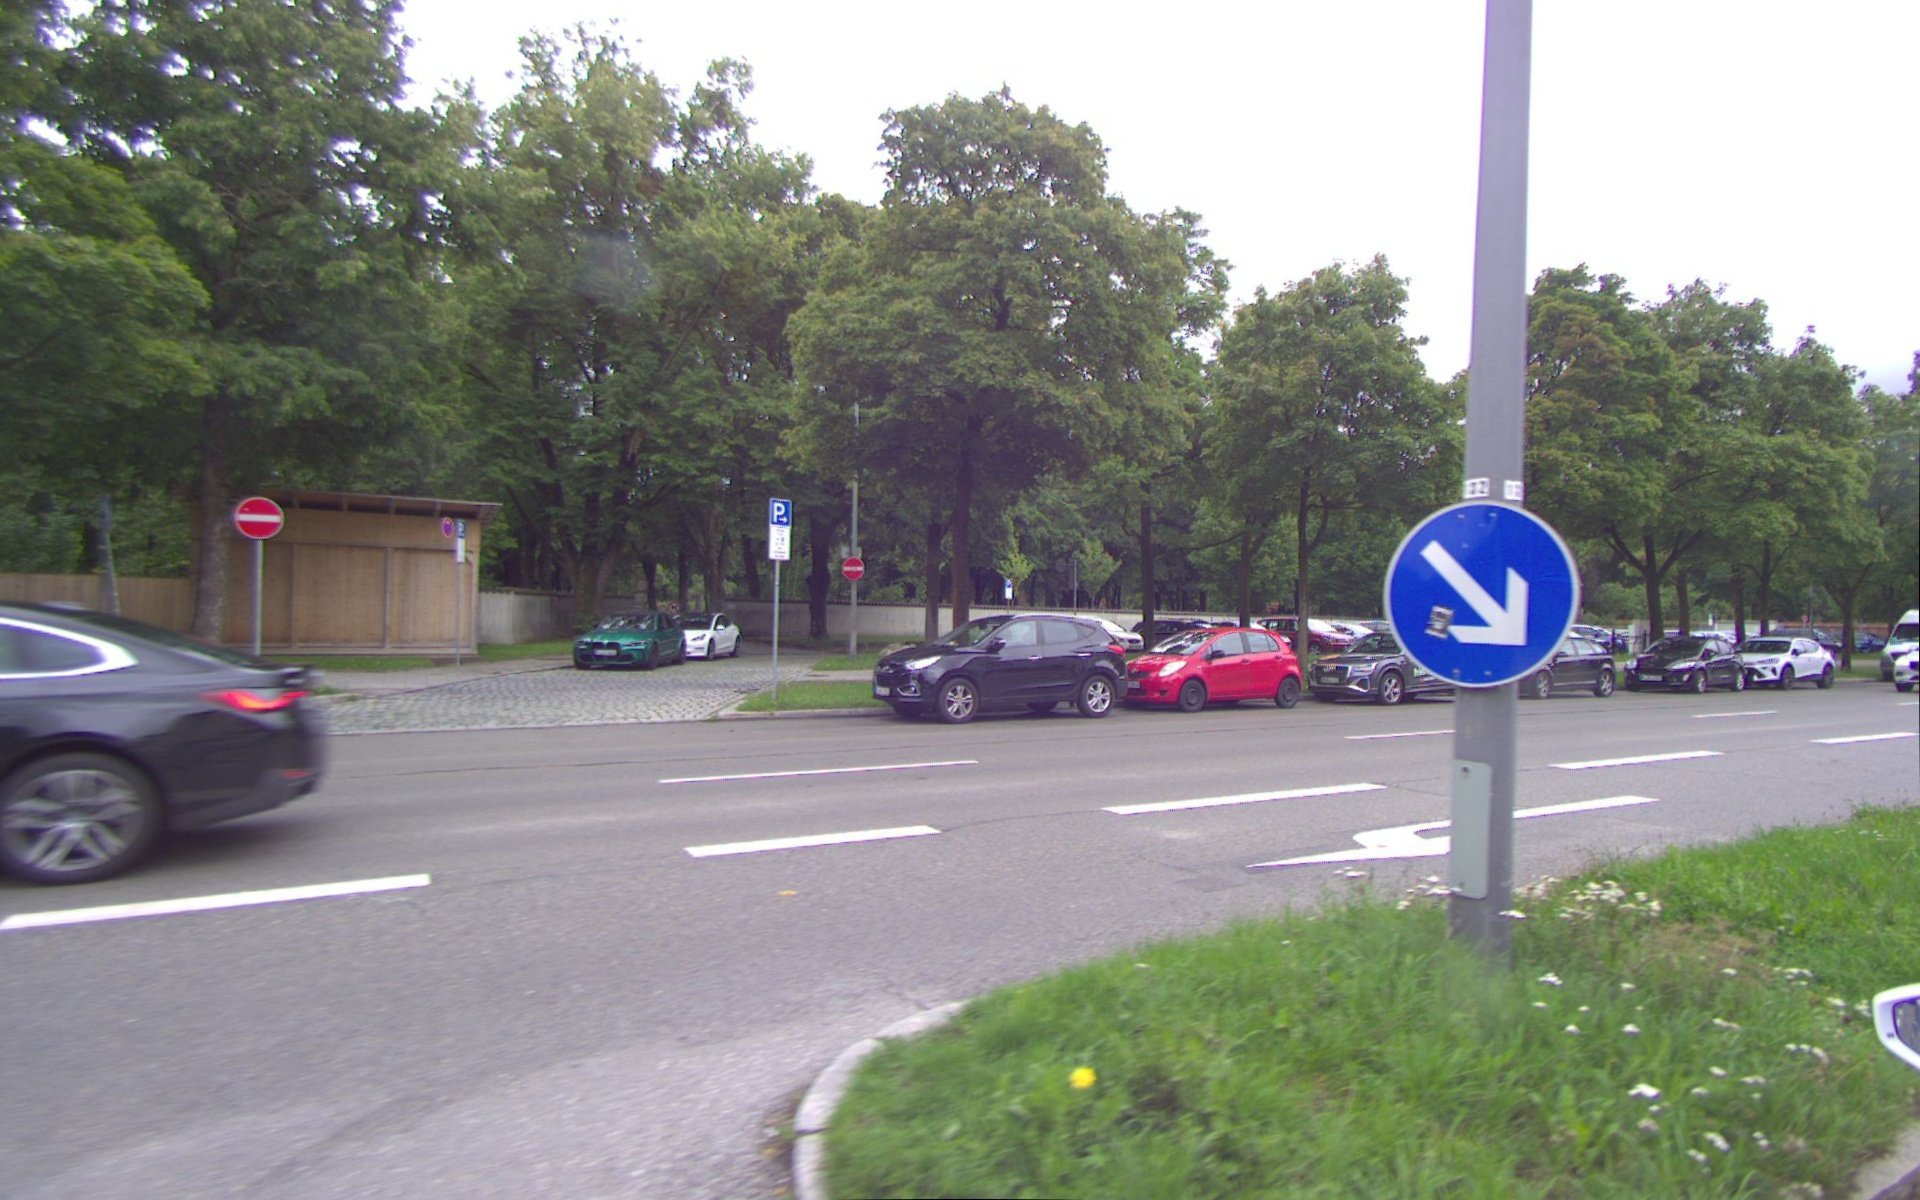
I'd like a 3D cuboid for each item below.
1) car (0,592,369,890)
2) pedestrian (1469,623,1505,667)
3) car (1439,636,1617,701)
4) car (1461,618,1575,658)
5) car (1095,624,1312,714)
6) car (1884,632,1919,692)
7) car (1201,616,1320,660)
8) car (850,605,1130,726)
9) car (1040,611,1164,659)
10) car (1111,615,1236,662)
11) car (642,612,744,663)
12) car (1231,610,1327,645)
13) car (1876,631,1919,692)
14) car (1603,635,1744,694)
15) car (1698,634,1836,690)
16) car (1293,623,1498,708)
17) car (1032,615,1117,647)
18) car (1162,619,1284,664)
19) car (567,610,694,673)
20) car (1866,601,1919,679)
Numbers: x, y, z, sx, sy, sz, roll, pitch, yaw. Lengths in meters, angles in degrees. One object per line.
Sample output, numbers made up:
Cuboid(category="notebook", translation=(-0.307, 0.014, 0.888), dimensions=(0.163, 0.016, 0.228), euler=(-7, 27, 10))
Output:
Cuboid(category="car", translation=(-5.906, 0.692, 5.323), dimensions=(4.726, 1.467, 1.807), euler=(2, -2, -31))
Cuboid(category="pedestrian", translation=(18.535, 1.575, 35.358), dimensions=(0.846, 1.515, 0.791), euler=(1, -1, -29))
Cuboid(category="car", translation=(13.426, 1.572, 23.749), dimensions=(3.949, 1.428, 1.815), euler=(2, -2, -27))
Cuboid(category="car", translation=(23.855, 1.617, 43.089), dimensions=(1.791, 1.591, 3.972), euler=(1, -1, -27))
Cuboid(category="car", translation=(4.612, 1.273, 18.948), dimensions=(3.766, 1.499, 1.812), euler=(3, -1, -31))
Cuboid(category="car", translation=(28.015, 1.722, 28.152), dimensions=(4.349, 1.621, 1.843), euler=(2, -3, -29))
Cuboid(category="car", translation=(11.253, 1.396, 37.804), dimensions=(1.980, 1.461, 3.962), euler=(2, -1, -34))
Cuboid(category="car", translation=(0.527, 1.034, 16.258), dimensions=(4.191, 1.722, 1.812), euler=(3, -1, -31))
Cuboid(category="car", translation=(4.697, 1.135, 33.774), dimensions=(1.980, 1.461, 3.962), euler=(2, -1, -34))
Cuboid(category="car", translation=(7.313, 1.300, 34.844), dimensions=(1.977, 1.461, 4.114), euler=(2, -1, -31))
Cuboid(category="car", translation=(-8.134, 1.110, 31.055), dimensions=(1.822, 1.428, 4.470), euler=(1, -1, 2))
Cuboid(category="car", translation=(16.031, 1.356, 50.725), dimensions=(1.976, 1.647, 4.485), euler=(2, -1, -29))
Cuboid(category="car", translation=(28.089, 1.719, 28.309), dimensions=(4.627, 1.641, 2.016), euler=(2, -2, -29))
Cuboid(category="car", translation=(19.171, 1.695, 26.946), dimensions=(3.958, 1.466, 1.811), euler=(2, -2, -34))
Cuboid(category="car", translation=(23.853, 1.835, 29.666), dimensions=(4.250, 1.547, 1.813), euler=(3, -3, -31))
Cuboid(category="car", translation=(9.156, 1.332, 21.071), dimensions=(4.061, 1.620, 1.814), euler=(2, -1, -28))
Cuboid(category="car", translation=(5.689, 1.543, 50.294), dimensions=(1.976, 1.461, 4.485), euler=(1, -1, -29))
Cuboid(category="car", translation=(9.420, 1.470, 36.235), dimensions=(1.980, 1.461, 3.962), euler=(2, -1, -34))
Cuboid(category="car", translation=(-8.183, 0.979, 25.336), dimensions=(1.822, 1.428, 3.860), euler=(1, -1, 2))
Cuboid(category="car", translation=(35.913, 1.447, 36.652), dimensions=(7.019, 2.678, 2.130), euler=(1, -2, -29))
